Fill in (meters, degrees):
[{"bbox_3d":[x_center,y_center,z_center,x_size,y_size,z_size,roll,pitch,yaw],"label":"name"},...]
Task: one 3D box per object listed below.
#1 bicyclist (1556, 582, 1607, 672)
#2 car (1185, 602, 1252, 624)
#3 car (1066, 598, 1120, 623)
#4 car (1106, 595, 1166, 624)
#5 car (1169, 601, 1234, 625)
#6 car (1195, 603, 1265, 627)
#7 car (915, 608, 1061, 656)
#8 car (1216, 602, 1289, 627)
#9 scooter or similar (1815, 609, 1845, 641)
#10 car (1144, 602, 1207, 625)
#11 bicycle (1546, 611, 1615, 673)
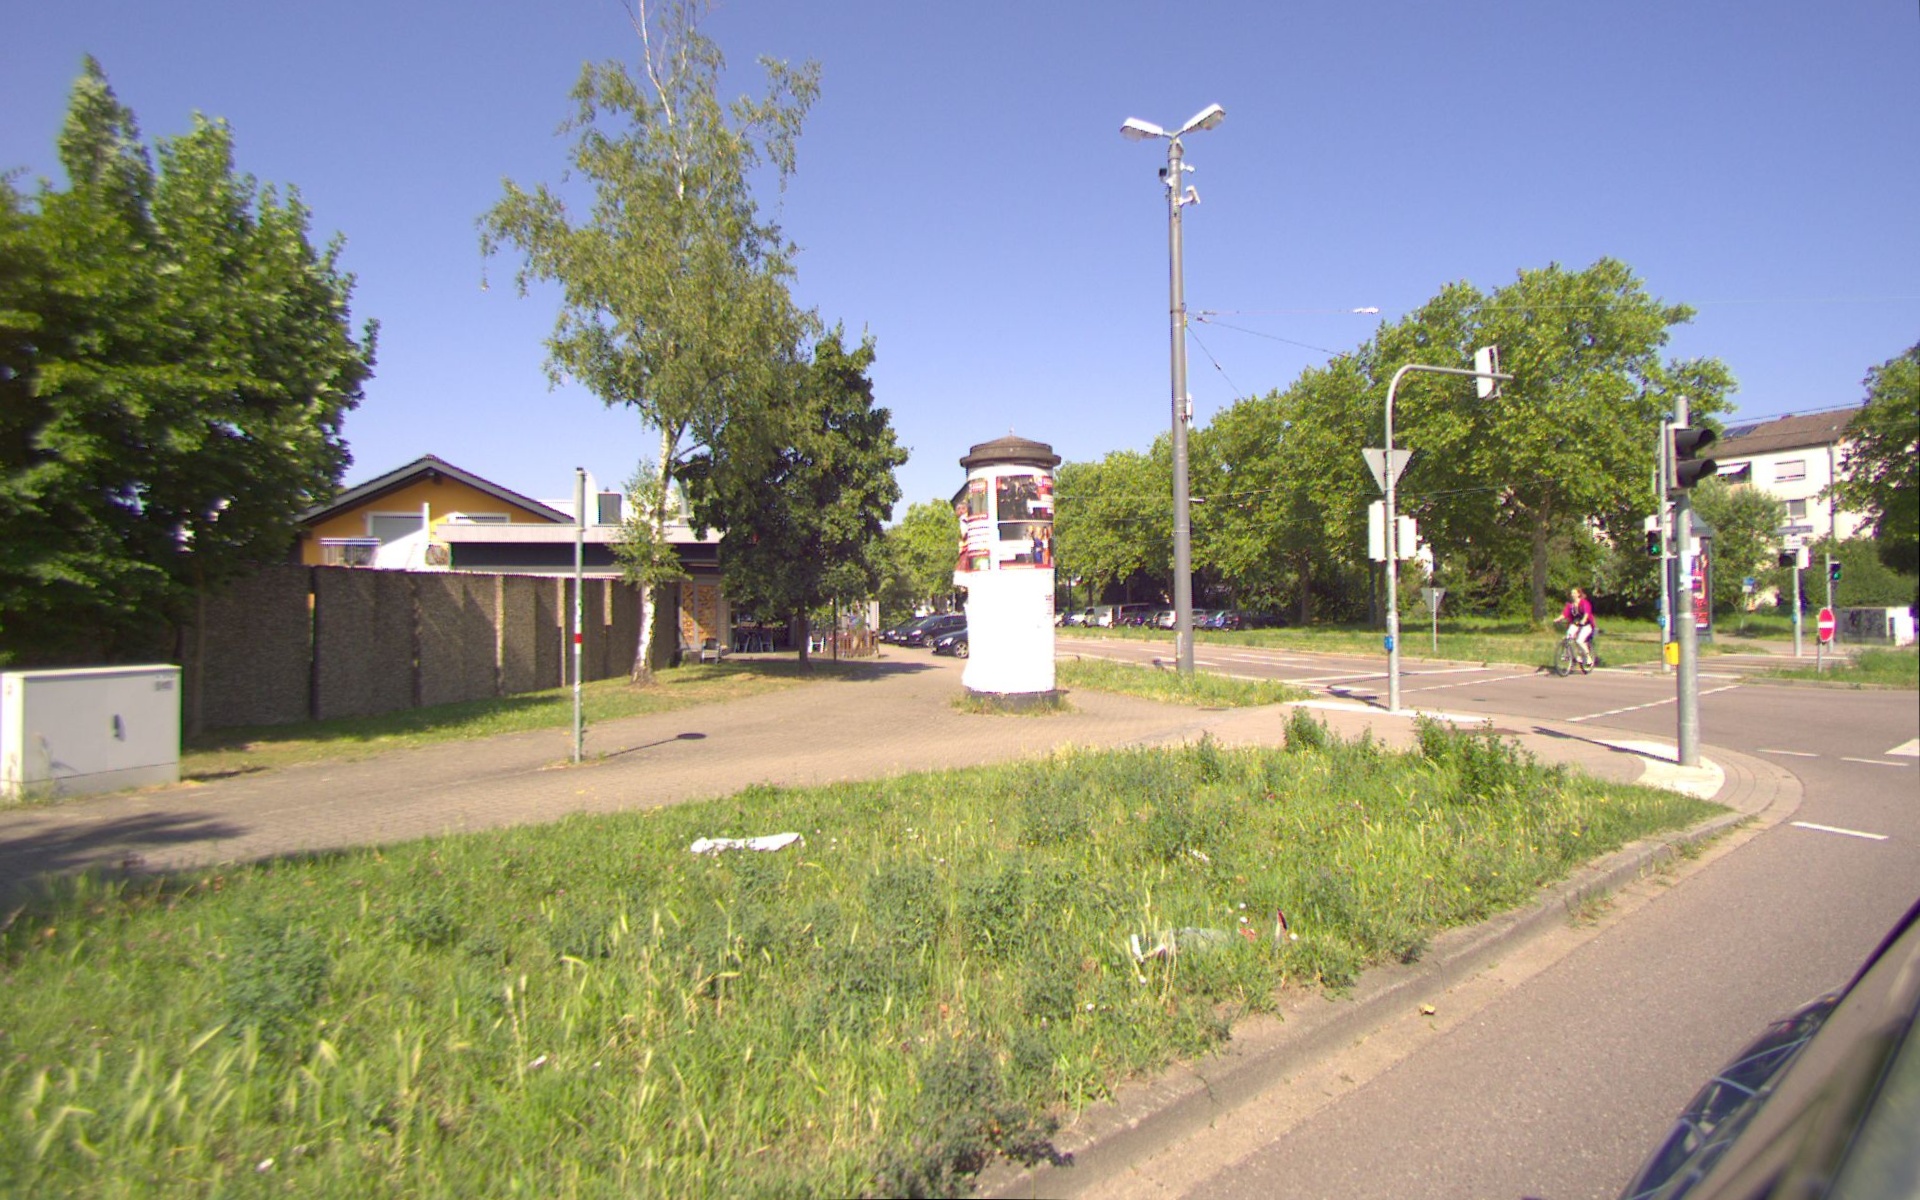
[{"bbox_3d":[12.871,0.547,20.963,0.797,1.810,0.701,0,-1,-43],"label":"bicyclist"},{"bbox_3d":[18.272,0.912,71.504,4.264,1.509,2.003,-1,0,-23],"label":"car"},{"bbox_3d":[12.278,0.952,93.651,4.494,2.237,2.003,-1,-1,-23],"label":"car"},{"bbox_3d":[14.761,0.796,84.880,4.493,2.319,2.004,-1,-1,-17],"label":"car"},{"bbox_3d":[17.673,0.942,74.120,4.264,1.654,2.003,-1,-2,-23],"label":"car"},{"bbox_3d":[18.378,1.009,68.965,4.264,1.509,2.003,-1,0,-23],"label":"car"},{"bbox_3d":[1.051,1.165,38.223,5.012,1.517,2.147,-2,0,-19],"label":"car"},{"bbox_3d":[19.120,0.954,66.136,4.264,1.509,2.003,-1,0,-23],"label":"car"},{"bbox_3d":[33.533,0.955,39.024,0.512,1.156,1.432,-3,-1,28],"label":"scooter or similar"},{"bbox_3d":[16.261,0.987,76.496,4.264,1.654,2.003,-1,-1,-23],"label":"car"},{"bbox_3d":[12.866,0.839,20.957,2.089,1.200,0.692,0,-1,-43],"label":"bicycle"}]
